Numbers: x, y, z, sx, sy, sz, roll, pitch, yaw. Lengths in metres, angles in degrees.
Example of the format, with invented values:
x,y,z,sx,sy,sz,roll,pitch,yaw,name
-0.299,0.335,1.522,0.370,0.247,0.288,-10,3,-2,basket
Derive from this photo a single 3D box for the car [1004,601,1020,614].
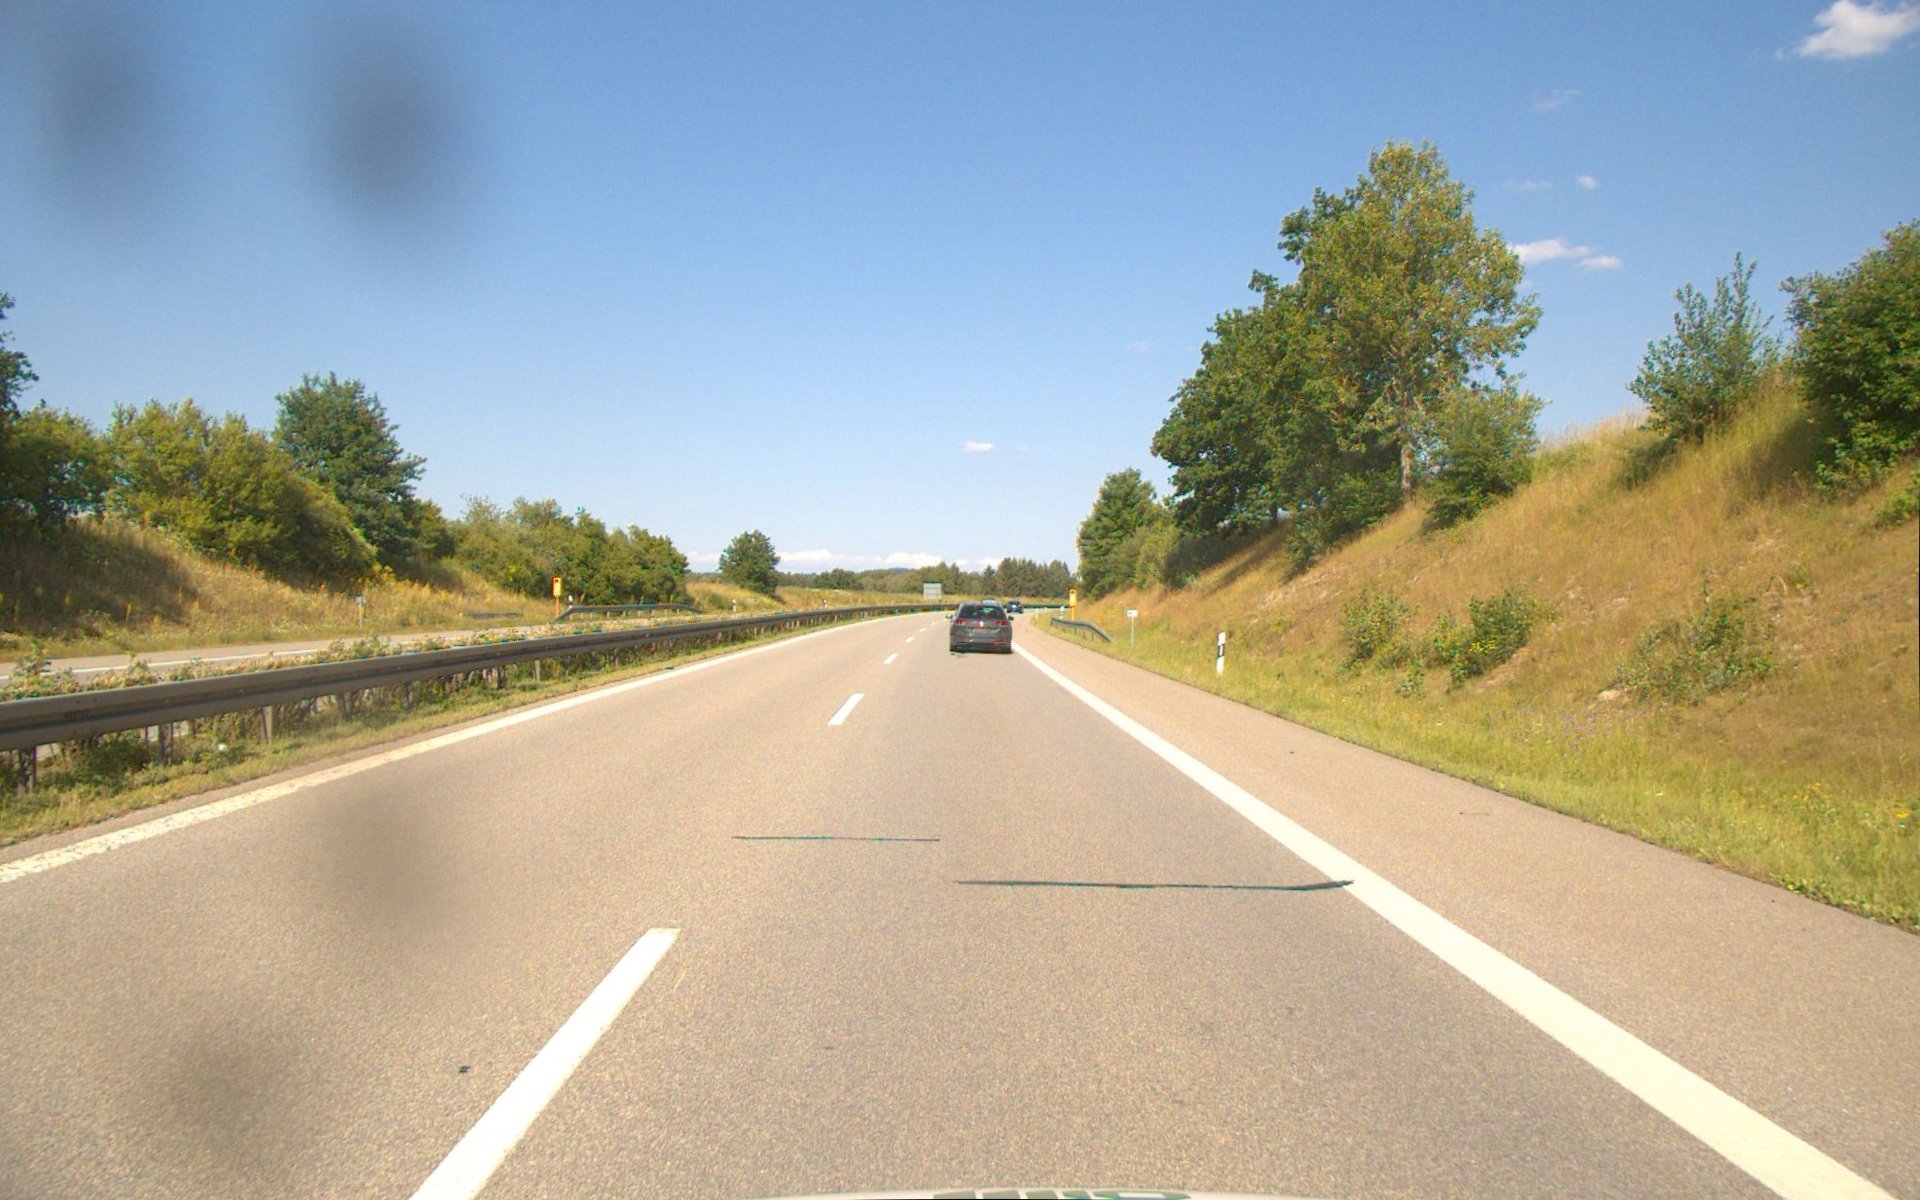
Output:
x,y,z,sx,sy,sz,roll,pitch,yaw,name
6.202,0.853,196.751,1.676,1.411,3.355,4,-1,0,car

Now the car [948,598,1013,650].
x,y,z,sx,sy,sz,roll,pitch,yaw,name
0.550,0.667,47.723,1.754,1.368,3.999,1,0,-1,car

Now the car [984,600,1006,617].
x,y,z,sx,sy,sz,roll,pitch,yaw,name
3.204,0.781,152.112,1.966,1.368,4.000,4,-1,1,car
